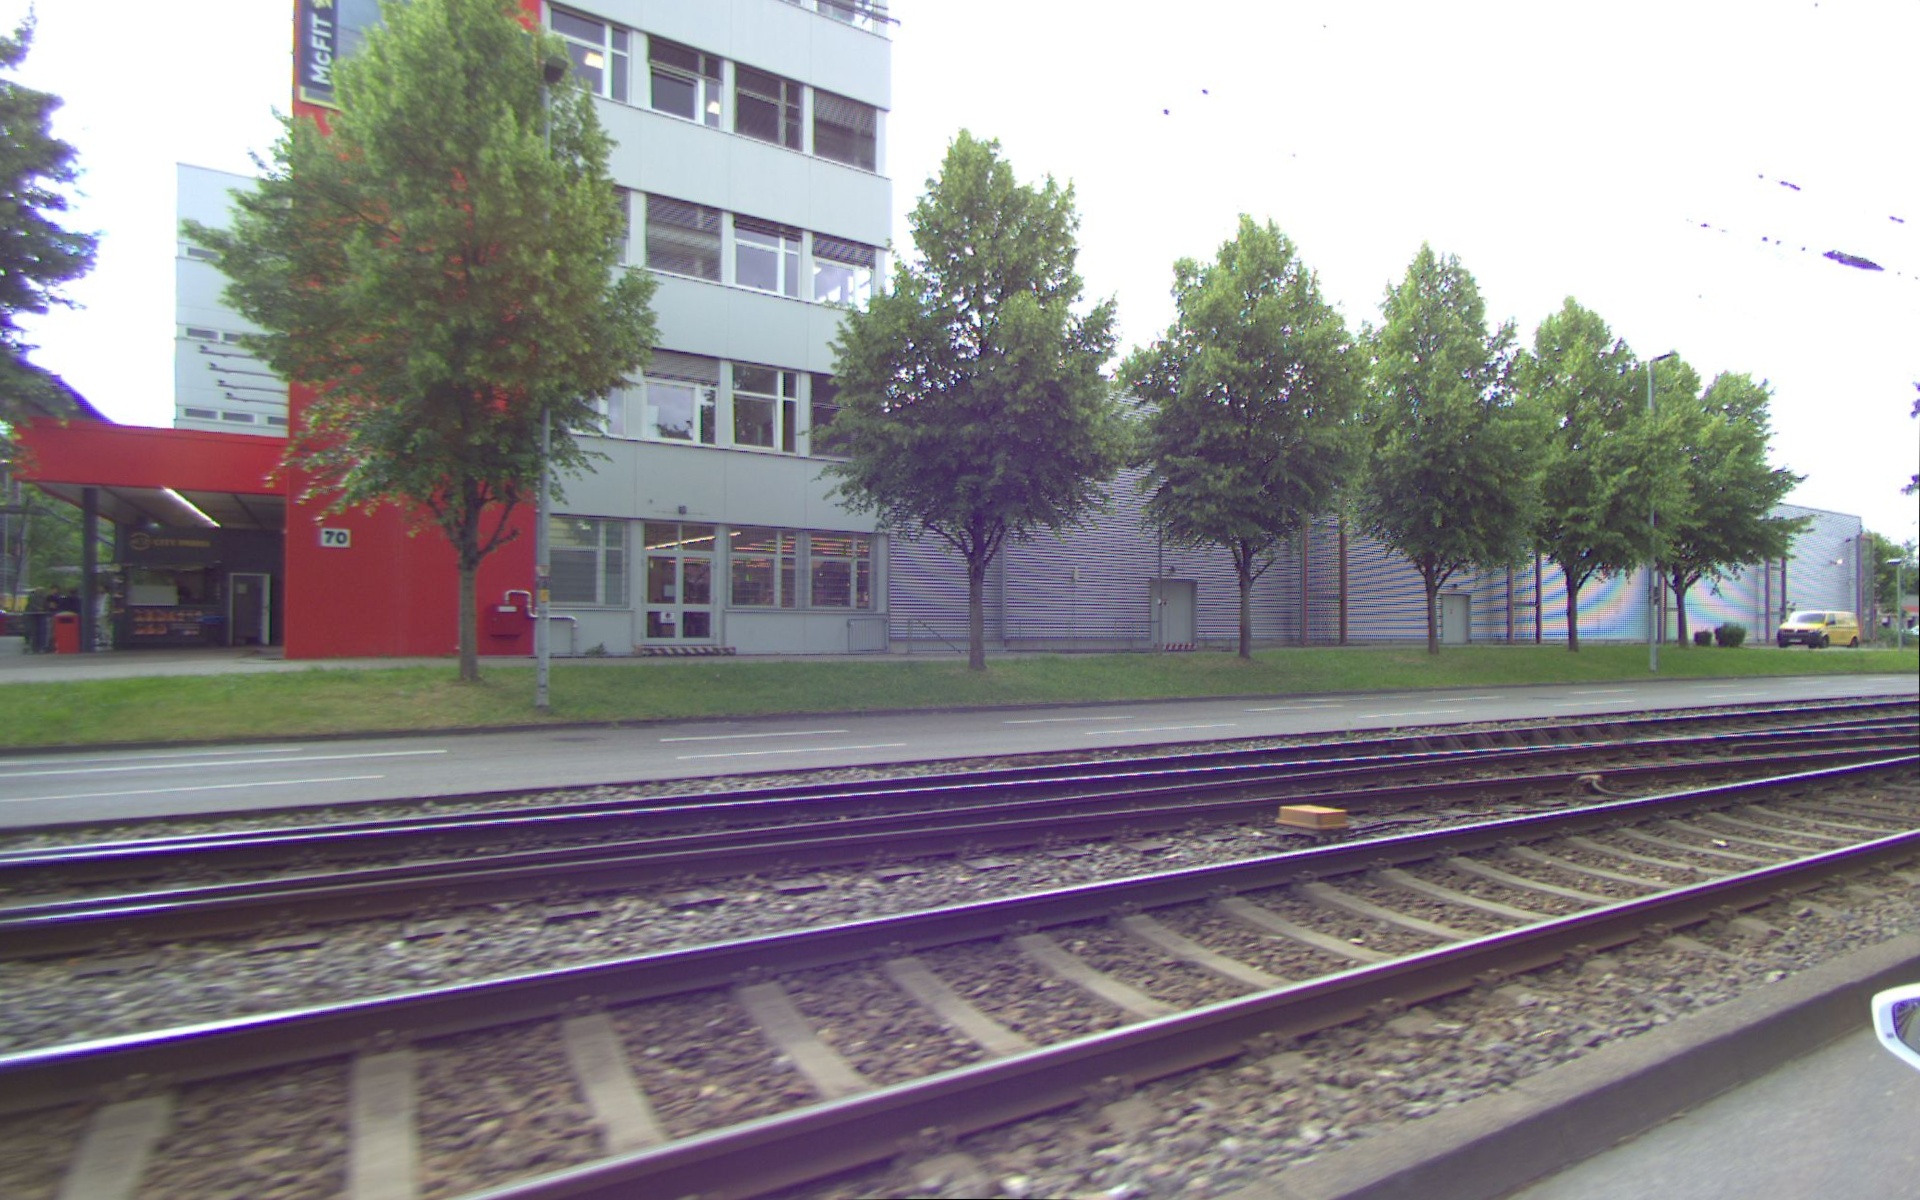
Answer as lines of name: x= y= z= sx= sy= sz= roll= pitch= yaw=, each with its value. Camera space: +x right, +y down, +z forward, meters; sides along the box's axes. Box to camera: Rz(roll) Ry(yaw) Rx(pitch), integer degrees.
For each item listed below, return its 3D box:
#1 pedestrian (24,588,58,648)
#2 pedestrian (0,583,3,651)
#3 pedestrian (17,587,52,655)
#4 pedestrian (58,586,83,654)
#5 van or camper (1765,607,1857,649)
pedestrian: x=-30.208 y=0.601 z=33.025 sx=0.573 sy=1.952 sz=0.654 roll=0 pitch=-1 yaw=29
pedestrian: x=-27.878 y=0.479 z=28.652 sx=0.573 sy=1.952 sz=0.654 roll=0 pitch=-1 yaw=29
pedestrian: x=-24.981 y=0.561 z=27.110 sx=0.590 sy=1.821 sz=0.375 roll=1 pitch=-1 yaw=-28
pedestrian: x=-24.315 y=0.543 z=27.466 sx=0.373 sy=1.821 sz=0.593 roll=1 pitch=-1 yaw=-30
van or camper: x=43.483 y=1.423 z=51.290 sx=5.184 sy=2.040 sz=2.092 roll=1 pitch=-1 yaw=-32
